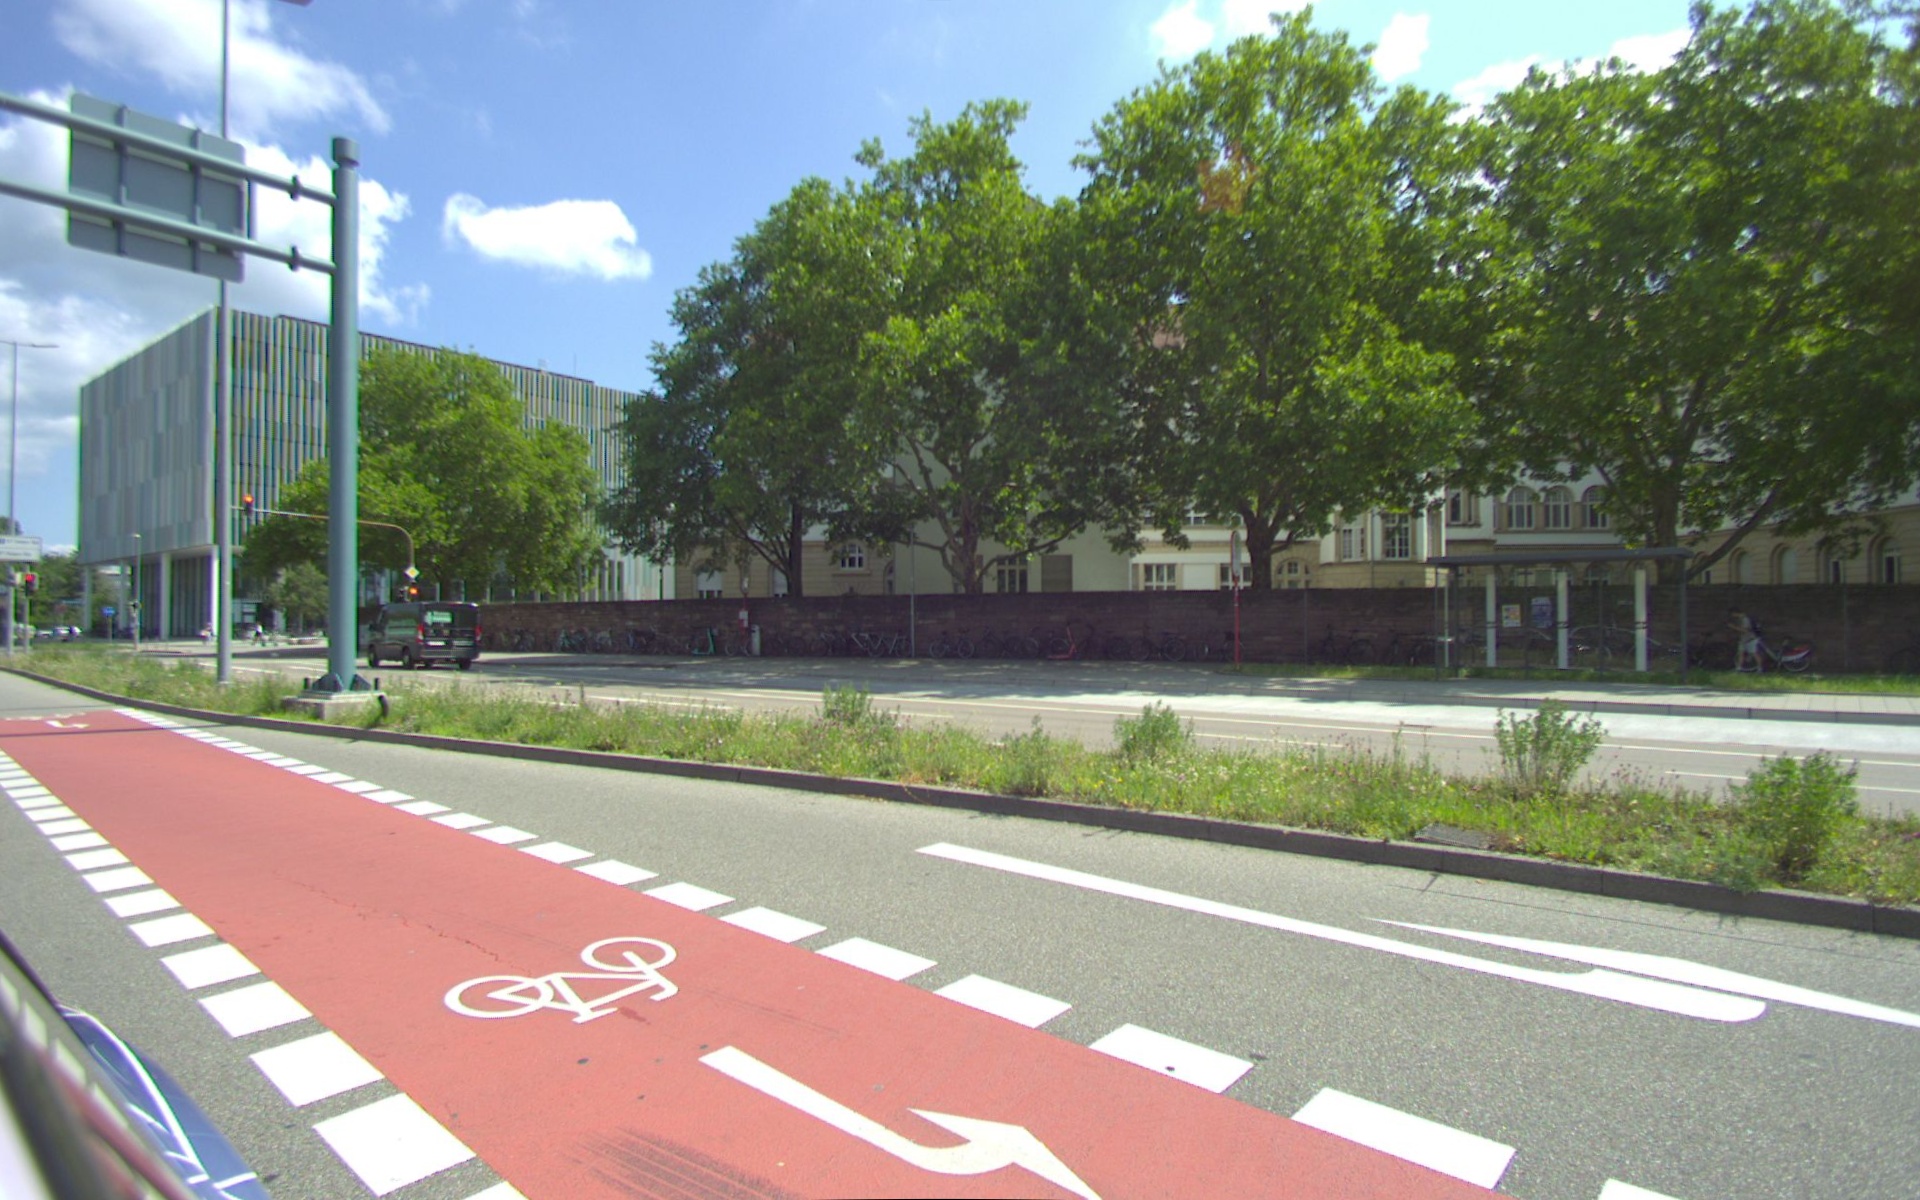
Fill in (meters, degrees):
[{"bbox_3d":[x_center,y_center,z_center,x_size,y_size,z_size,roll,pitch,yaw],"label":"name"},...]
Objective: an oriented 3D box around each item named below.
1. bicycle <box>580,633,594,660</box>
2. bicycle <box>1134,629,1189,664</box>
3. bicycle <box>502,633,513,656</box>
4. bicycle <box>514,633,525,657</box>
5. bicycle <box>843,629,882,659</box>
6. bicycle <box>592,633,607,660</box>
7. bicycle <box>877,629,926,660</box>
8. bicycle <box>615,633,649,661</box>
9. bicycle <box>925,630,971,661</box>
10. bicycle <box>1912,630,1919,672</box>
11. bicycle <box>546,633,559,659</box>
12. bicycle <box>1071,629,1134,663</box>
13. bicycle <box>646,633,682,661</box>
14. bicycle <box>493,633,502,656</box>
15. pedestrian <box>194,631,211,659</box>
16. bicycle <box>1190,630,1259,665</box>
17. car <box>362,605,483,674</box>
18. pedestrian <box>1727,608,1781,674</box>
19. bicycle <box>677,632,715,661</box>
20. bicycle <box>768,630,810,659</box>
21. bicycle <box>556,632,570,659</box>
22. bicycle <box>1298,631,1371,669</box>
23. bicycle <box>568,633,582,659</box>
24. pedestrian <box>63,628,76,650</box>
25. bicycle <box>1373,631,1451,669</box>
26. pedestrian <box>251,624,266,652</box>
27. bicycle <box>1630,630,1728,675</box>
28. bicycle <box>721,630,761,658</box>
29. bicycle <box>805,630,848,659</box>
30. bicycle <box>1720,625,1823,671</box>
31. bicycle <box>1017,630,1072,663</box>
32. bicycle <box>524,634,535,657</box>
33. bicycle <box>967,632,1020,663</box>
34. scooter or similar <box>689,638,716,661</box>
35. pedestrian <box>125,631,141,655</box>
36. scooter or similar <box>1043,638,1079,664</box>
[{"bbox_3d":[-15.938,1.961,43.243,0.376,1.116,1.675,1,-2,-28],"label":"bicycle"},{"bbox_3d":[6.205,1.432,31.173,1.629,1.051,0.395,-1,-2,22],"label":"bicycle"},{"bbox_3d":[-20.808,2.049,46.525,0.324,1.025,1.675,1,-2,-28],"label":"bicycle"},{"bbox_3d":[-20.025,2.042,46.013,0.324,1.025,1.675,1,-2,-28],"label":"bicycle"},{"bbox_3d":[-3.479,1.558,35.950,1.409,1.051,0.374,-1,-2,27],"label":"bicycle"},{"bbox_3d":[-15.281,1.953,42.847,0.376,1.116,1.675,1,-2,-28],"label":"bicycle"},{"bbox_3d":[-2.050,1.540,35.200,1.753,1.051,0.394,-1,-2,27],"label":"bicycle"},{"bbox_3d":[-13.642,1.945,42.027,1.665,1.116,0.378,-1,-2,32],"label":"bicycle"},{"bbox_3d":[-0.419,1.533,34.366,1.576,1.051,0.394,-1,-2,27],"label":"bicycle"},{"bbox_3d":[24.361,1.242,24.666,1.671,1.038,0.396,-1,-2,15],"label":"bicycle"},{"bbox_3d":[-17.830,1.987,44.283,0.376,1.116,1.675,1,-2,-28],"label":"bicycle"},{"bbox_3d":[4.483,1.455,31.902,1.946,1.051,0.395,-1,-2,25],"label":"bicycle"},{"bbox_3d":[-11.957,1.879,40.901,1.664,1.116,0.379,-1,-2,31],"label":"bicycle"},{"bbox_3d":[-21.443,2.056,46.906,0.324,1.025,1.675,1,-2,-28],"label":"bicycle"},{"bbox_3d":[-52.942,3.114,70.744,0.806,1.931,0.706,-1,0,36],"label":"pedestrian"},{"bbox_3d":[7.952,1.417,30.443,1.945,1.051,0.395,-1,-2,22],"label":"bicycle"},{"bbox_3d":[-18.178,1.333,34.141,4.519,2.188,2.185,-2,-3,42],"label":"car"},{"bbox_3d":[19.696,1.013,25.107,0.773,1.623,0.720,-1,-2,12],"label":"pedestrian"},{"bbox_3d":[-10.442,1.817,40.010,1.663,1.116,0.379,-1,-2,29],"label":"bicycle"},{"bbox_3d":[-6.345,1.656,37.549,1.663,1.051,0.379,-1,-2,29],"label":"bicycle"},{"bbox_3d":[-17.334,1.981,44.190,0.376,1.116,1.675,1,-2,-28],"label":"bicycle"},{"bbox_3d":[10.784,1.428,29.150,1.945,1.051,0.395,-1,-2,22],"label":"bicycle"},{"bbox_3d":[-16.651,1.973,43.733,0.376,1.116,1.675,1,-2,-28],"label":"bicycle"},{"bbox_3d":[-77.453,3.387,88.015,0.806,1.931,0.706,-1,0,36],"label":"pedestrian"},{"bbox_3d":[12.644,1.400,28.358,1.945,1.051,0.395,-1,-2,22],"label":"bicycle"},{"bbox_3d":[-47.916,2.592,69.123,0.718,1.932,0.624,-1,0,38],"label":"pedestrian"},{"bbox_3d":[18.703,1.352,26.353,2.022,1.146,0.396,-1,-2,18],"label":"bicycle"},{"bbox_3d":[-8.346,1.679,38.574,1.663,1.051,0.379,-1,-2,29],"label":"bicycle"},{"bbox_3d":[-4.858,1.599,36.690,1.663,1.051,0.379,-1,-2,29],"label":"bicycle"},{"bbox_3d":[20.642,1.209,25.780,2.022,1.146,0.396,-1,-2,18],"label":"bicycle"},{"bbox_3d":[2.732,1.493,32.743,1.752,1.051,0.394,-1,-2,26],"label":"bicycle"},{"bbox_3d":[-19.420,2.041,45.622,0.324,1.025,1.675,1,-2,-28],"label":"bicycle"},{"bbox_3d":[1.115,1.557,33.566,1.753,1.011,0.394,-1,-2,27],"label":"bicycle"},{"bbox_3d":[-9.886,1.886,38.855,1.065,0.850,0.350,-1,-2,29],"label":"scooter or similar"},{"bbox_3d":[-69.715,3.618,85.307,0.806,1.931,0.816,-1,0,36],"label":"pedestrian"},{"bbox_3d":[3.175,1.596,31.818,1.060,0.800,0.351,-1,-2,17],"label":"scooter or similar"}]
